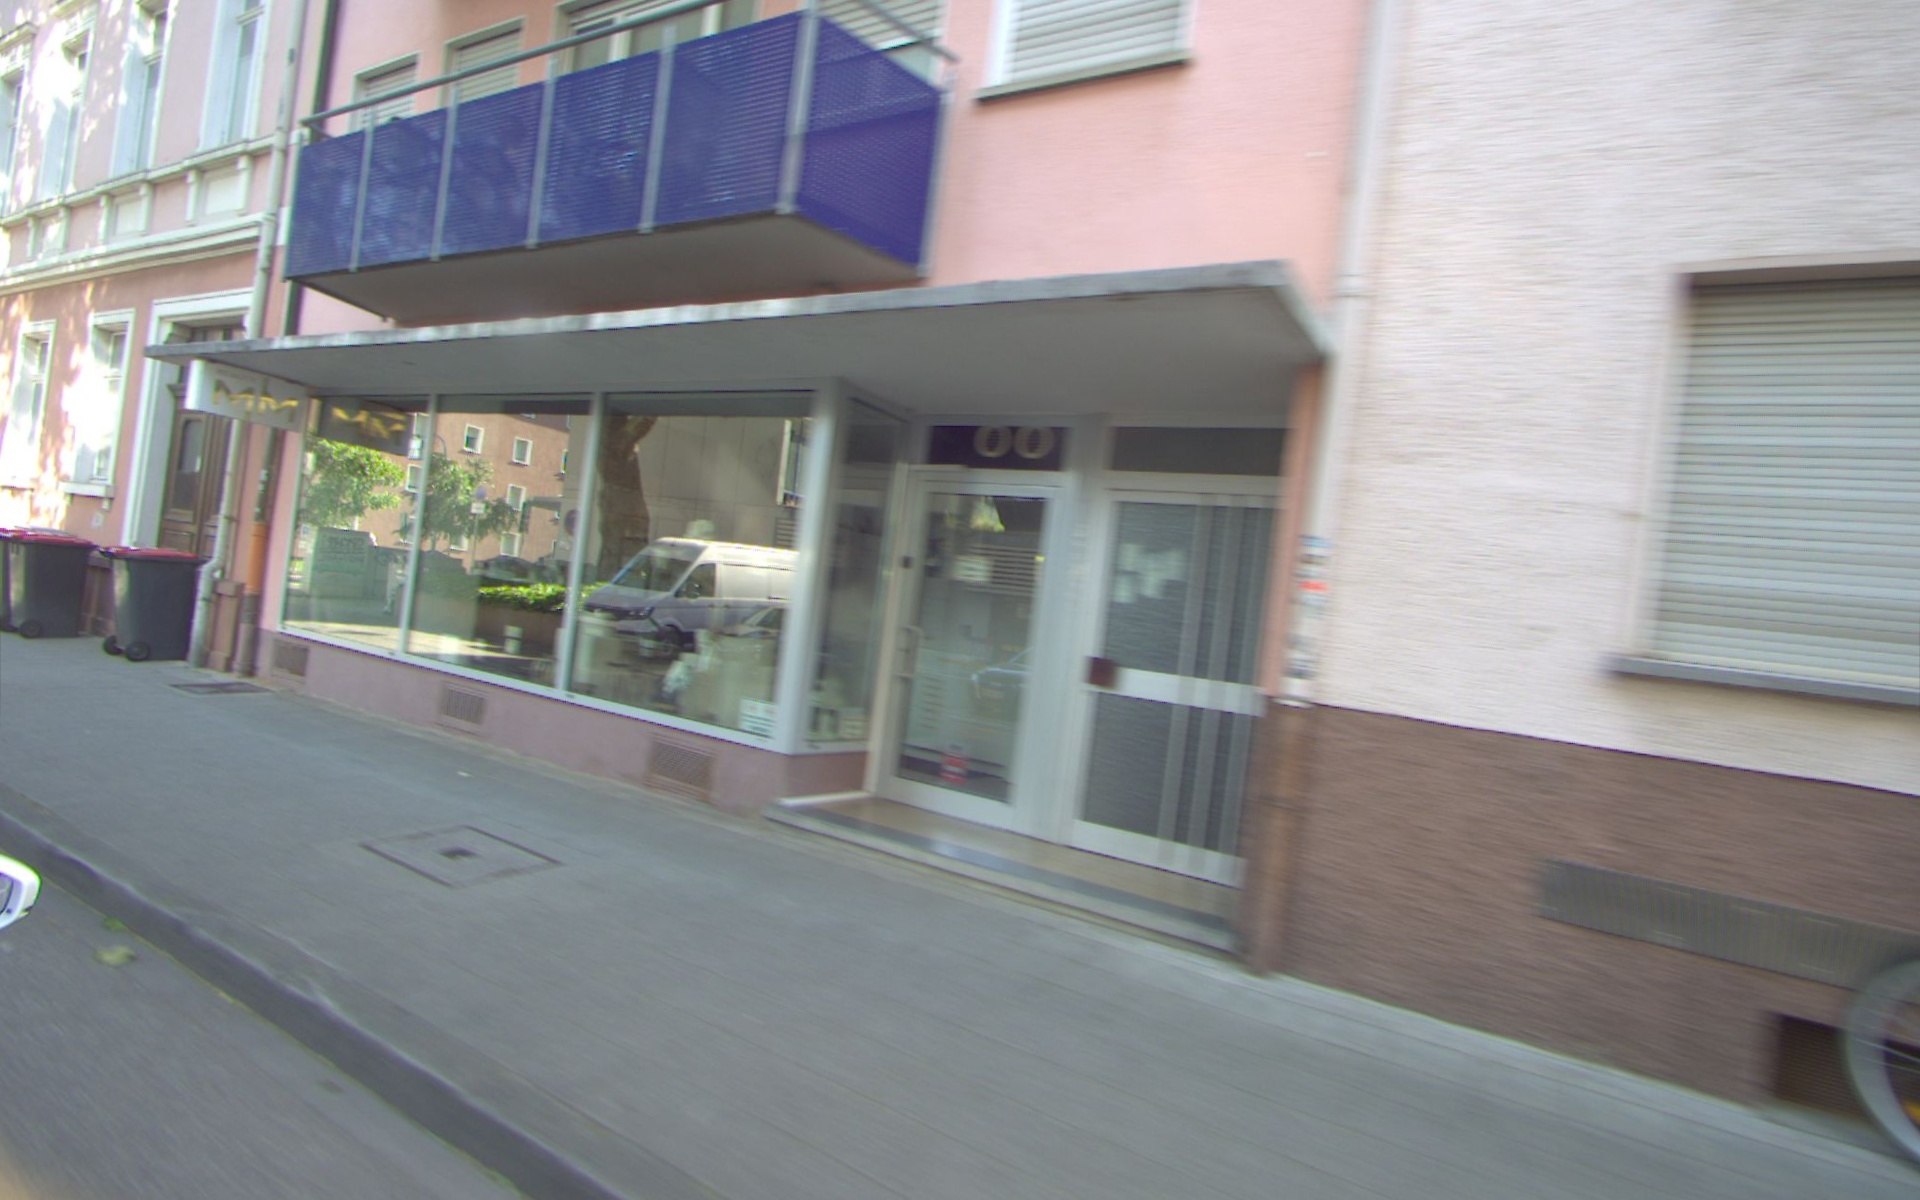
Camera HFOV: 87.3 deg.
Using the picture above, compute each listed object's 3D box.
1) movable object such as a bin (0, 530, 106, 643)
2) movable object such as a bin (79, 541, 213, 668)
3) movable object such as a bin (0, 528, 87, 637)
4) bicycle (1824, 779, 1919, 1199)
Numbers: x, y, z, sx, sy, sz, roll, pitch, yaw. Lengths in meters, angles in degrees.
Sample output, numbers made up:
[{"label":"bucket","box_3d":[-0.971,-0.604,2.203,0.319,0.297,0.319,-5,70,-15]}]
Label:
[{"label":"movable object such as a bin","box_3d":[-9.618,-0.133,10.620,0.587,1.086,0.702,6,-1,34]},{"label":"movable object such as a bin","box_3d":[-7.901,0.054,9.776,0.681,1.117,0.731,6,-1,30]},{"label":"movable object such as a bin","box_3d":[-10.141,-0.192,10.953,0.624,1.099,0.746,6,-1,34]},{"label":"bicycle","box_3d":[3.581,1.230,2.613,1.889,1.149,0.453,6,2,34]}]
